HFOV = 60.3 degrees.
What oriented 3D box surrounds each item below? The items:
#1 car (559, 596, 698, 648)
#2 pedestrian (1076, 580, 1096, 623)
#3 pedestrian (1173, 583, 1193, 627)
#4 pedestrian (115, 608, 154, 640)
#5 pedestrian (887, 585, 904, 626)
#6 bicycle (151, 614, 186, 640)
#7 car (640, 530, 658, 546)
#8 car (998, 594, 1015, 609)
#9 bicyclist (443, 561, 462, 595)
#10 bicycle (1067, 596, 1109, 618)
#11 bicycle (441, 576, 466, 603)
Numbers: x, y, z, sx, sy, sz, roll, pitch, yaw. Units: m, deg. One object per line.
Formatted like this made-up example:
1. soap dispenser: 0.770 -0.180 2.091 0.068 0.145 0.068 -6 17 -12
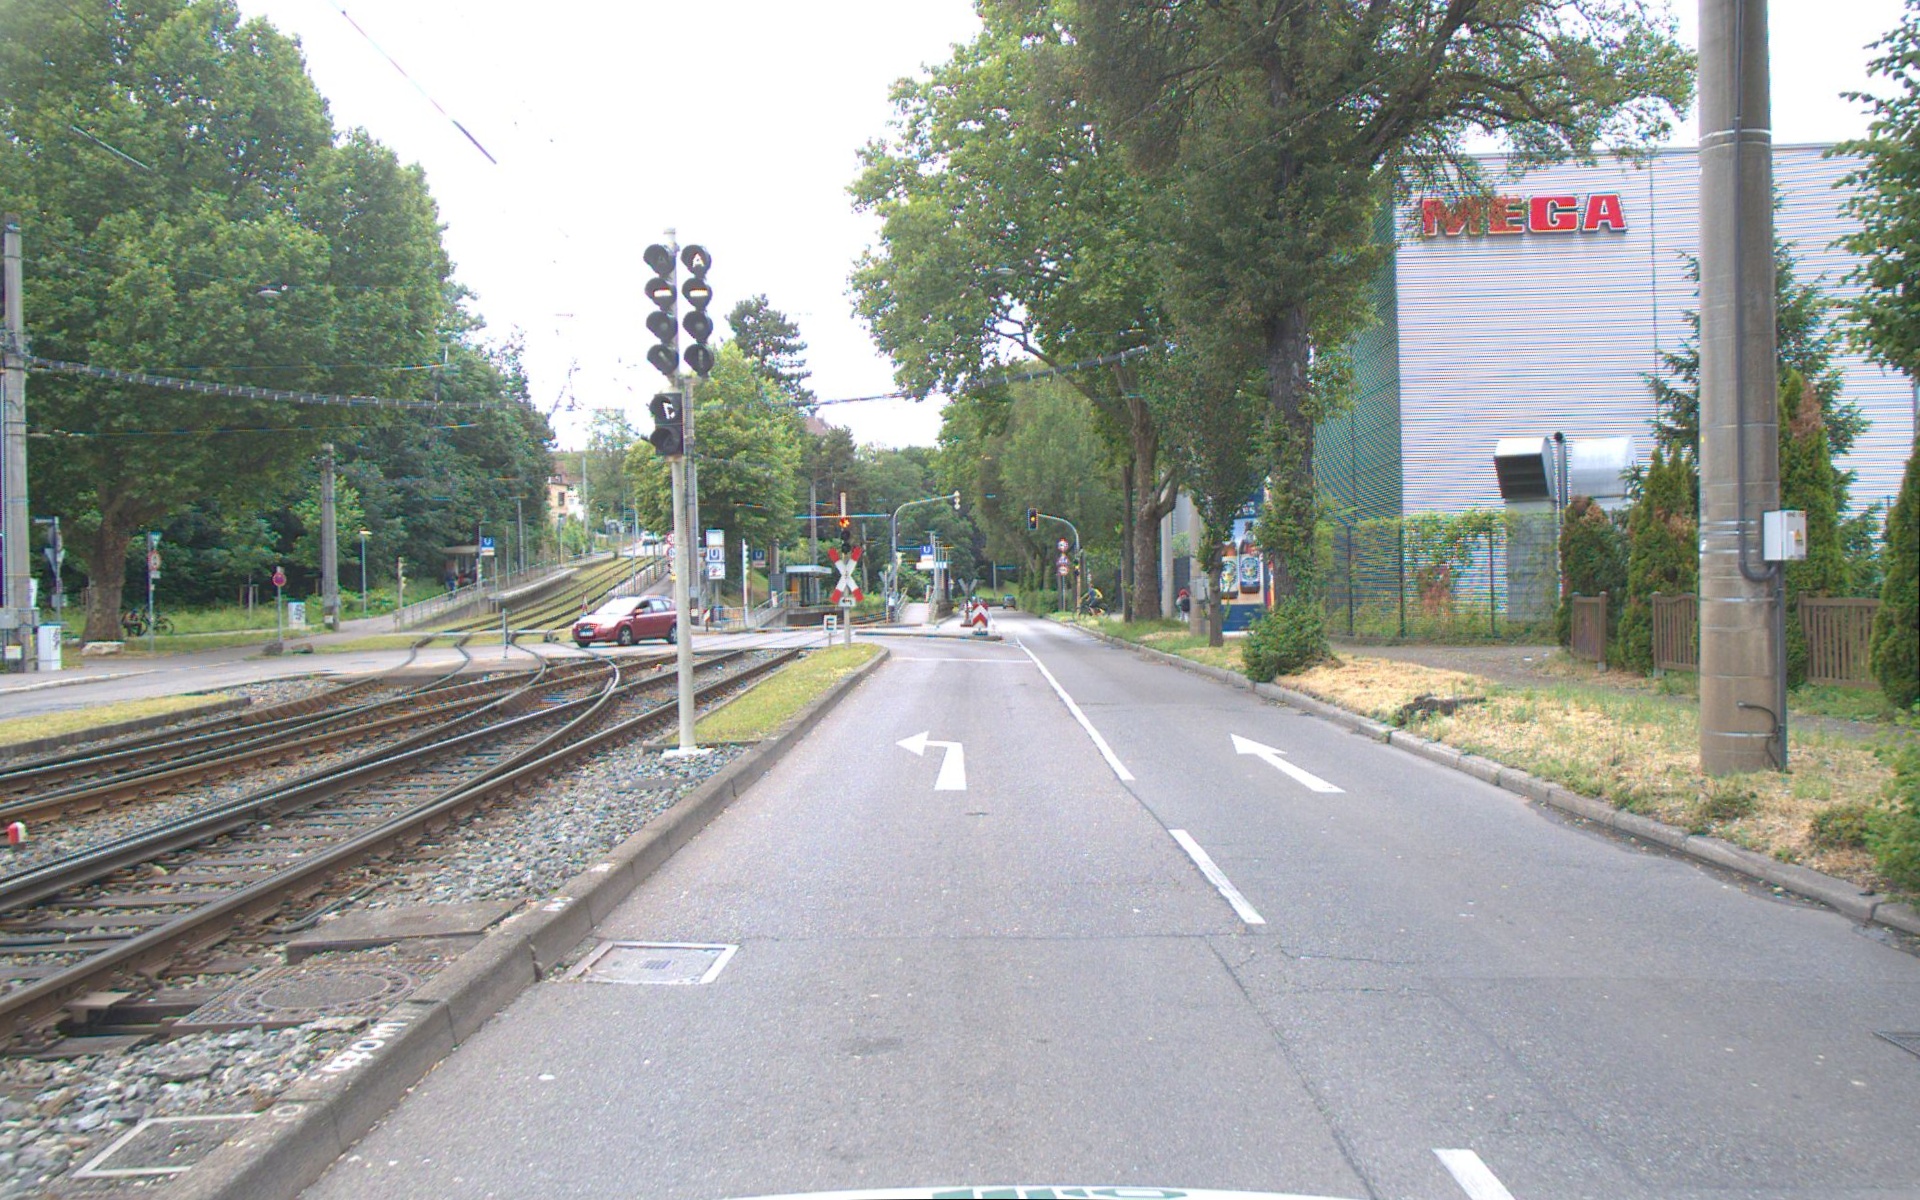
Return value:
1. car: -10.433 0.665 52.386 1.955 1.542 4.495 -1 0 28
2. pedestrian: 6.165 0.075 81.020 0.911 2.049 0.668 -2 0 8
3. pedestrian: 8.004 0.181 59.445 0.652 1.580 0.935 -2 0 6
4. pedestrian: -33.641 0.995 67.420 1.095 1.290 1.052 0 -2 38
5. pedestrian: -2.999 0.257 77.241 0.753 1.885 0.909 -1 0 -3
6. bicycle: -32.750 1.115 68.431 1.621 1.030 0.672 0 -1 38
7. car: -42.226 -8.414 224.548 1.954 2.049 3.997 -2 0 -4
8. car: 6.328 0.191 225.119 1.954 1.847 3.997 -2 0 -3
9. bicyclist: -28.482 -1.251 92.900 0.805 1.881 1.050 -1 2 -8
10. bicycle: 6.271 0.362 81.010 2.030 1.024 0.668 -2 0 6
11. bicycle: -28.482 -0.585 93.063 0.808 1.366 2.992 -2 3 -8
